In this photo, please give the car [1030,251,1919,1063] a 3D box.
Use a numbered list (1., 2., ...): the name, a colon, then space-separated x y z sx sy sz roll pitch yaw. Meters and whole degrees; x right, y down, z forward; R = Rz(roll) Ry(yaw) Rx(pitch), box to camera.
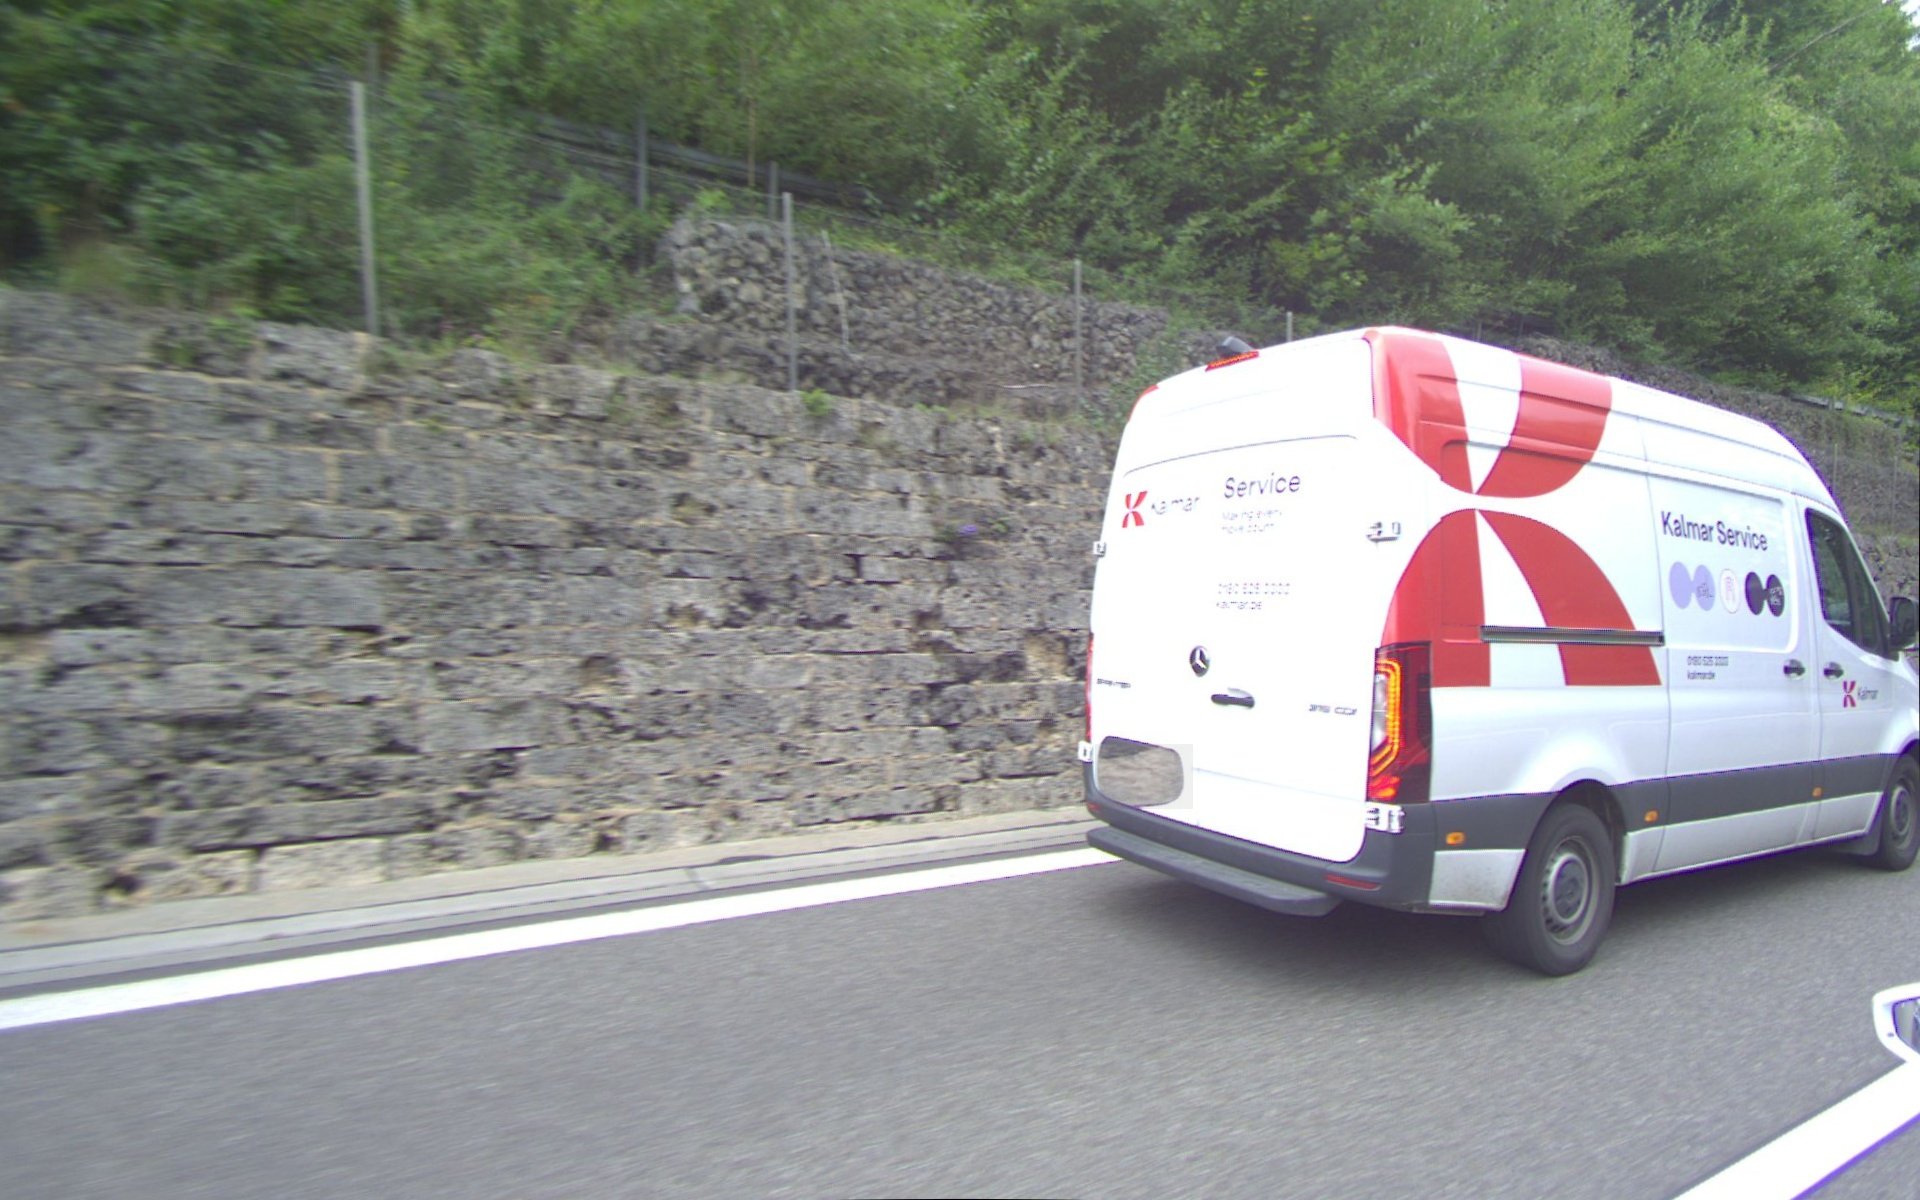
1. car: 3.522 0.270 5.743 6.204 2.619 2.015 2 -1 -32
